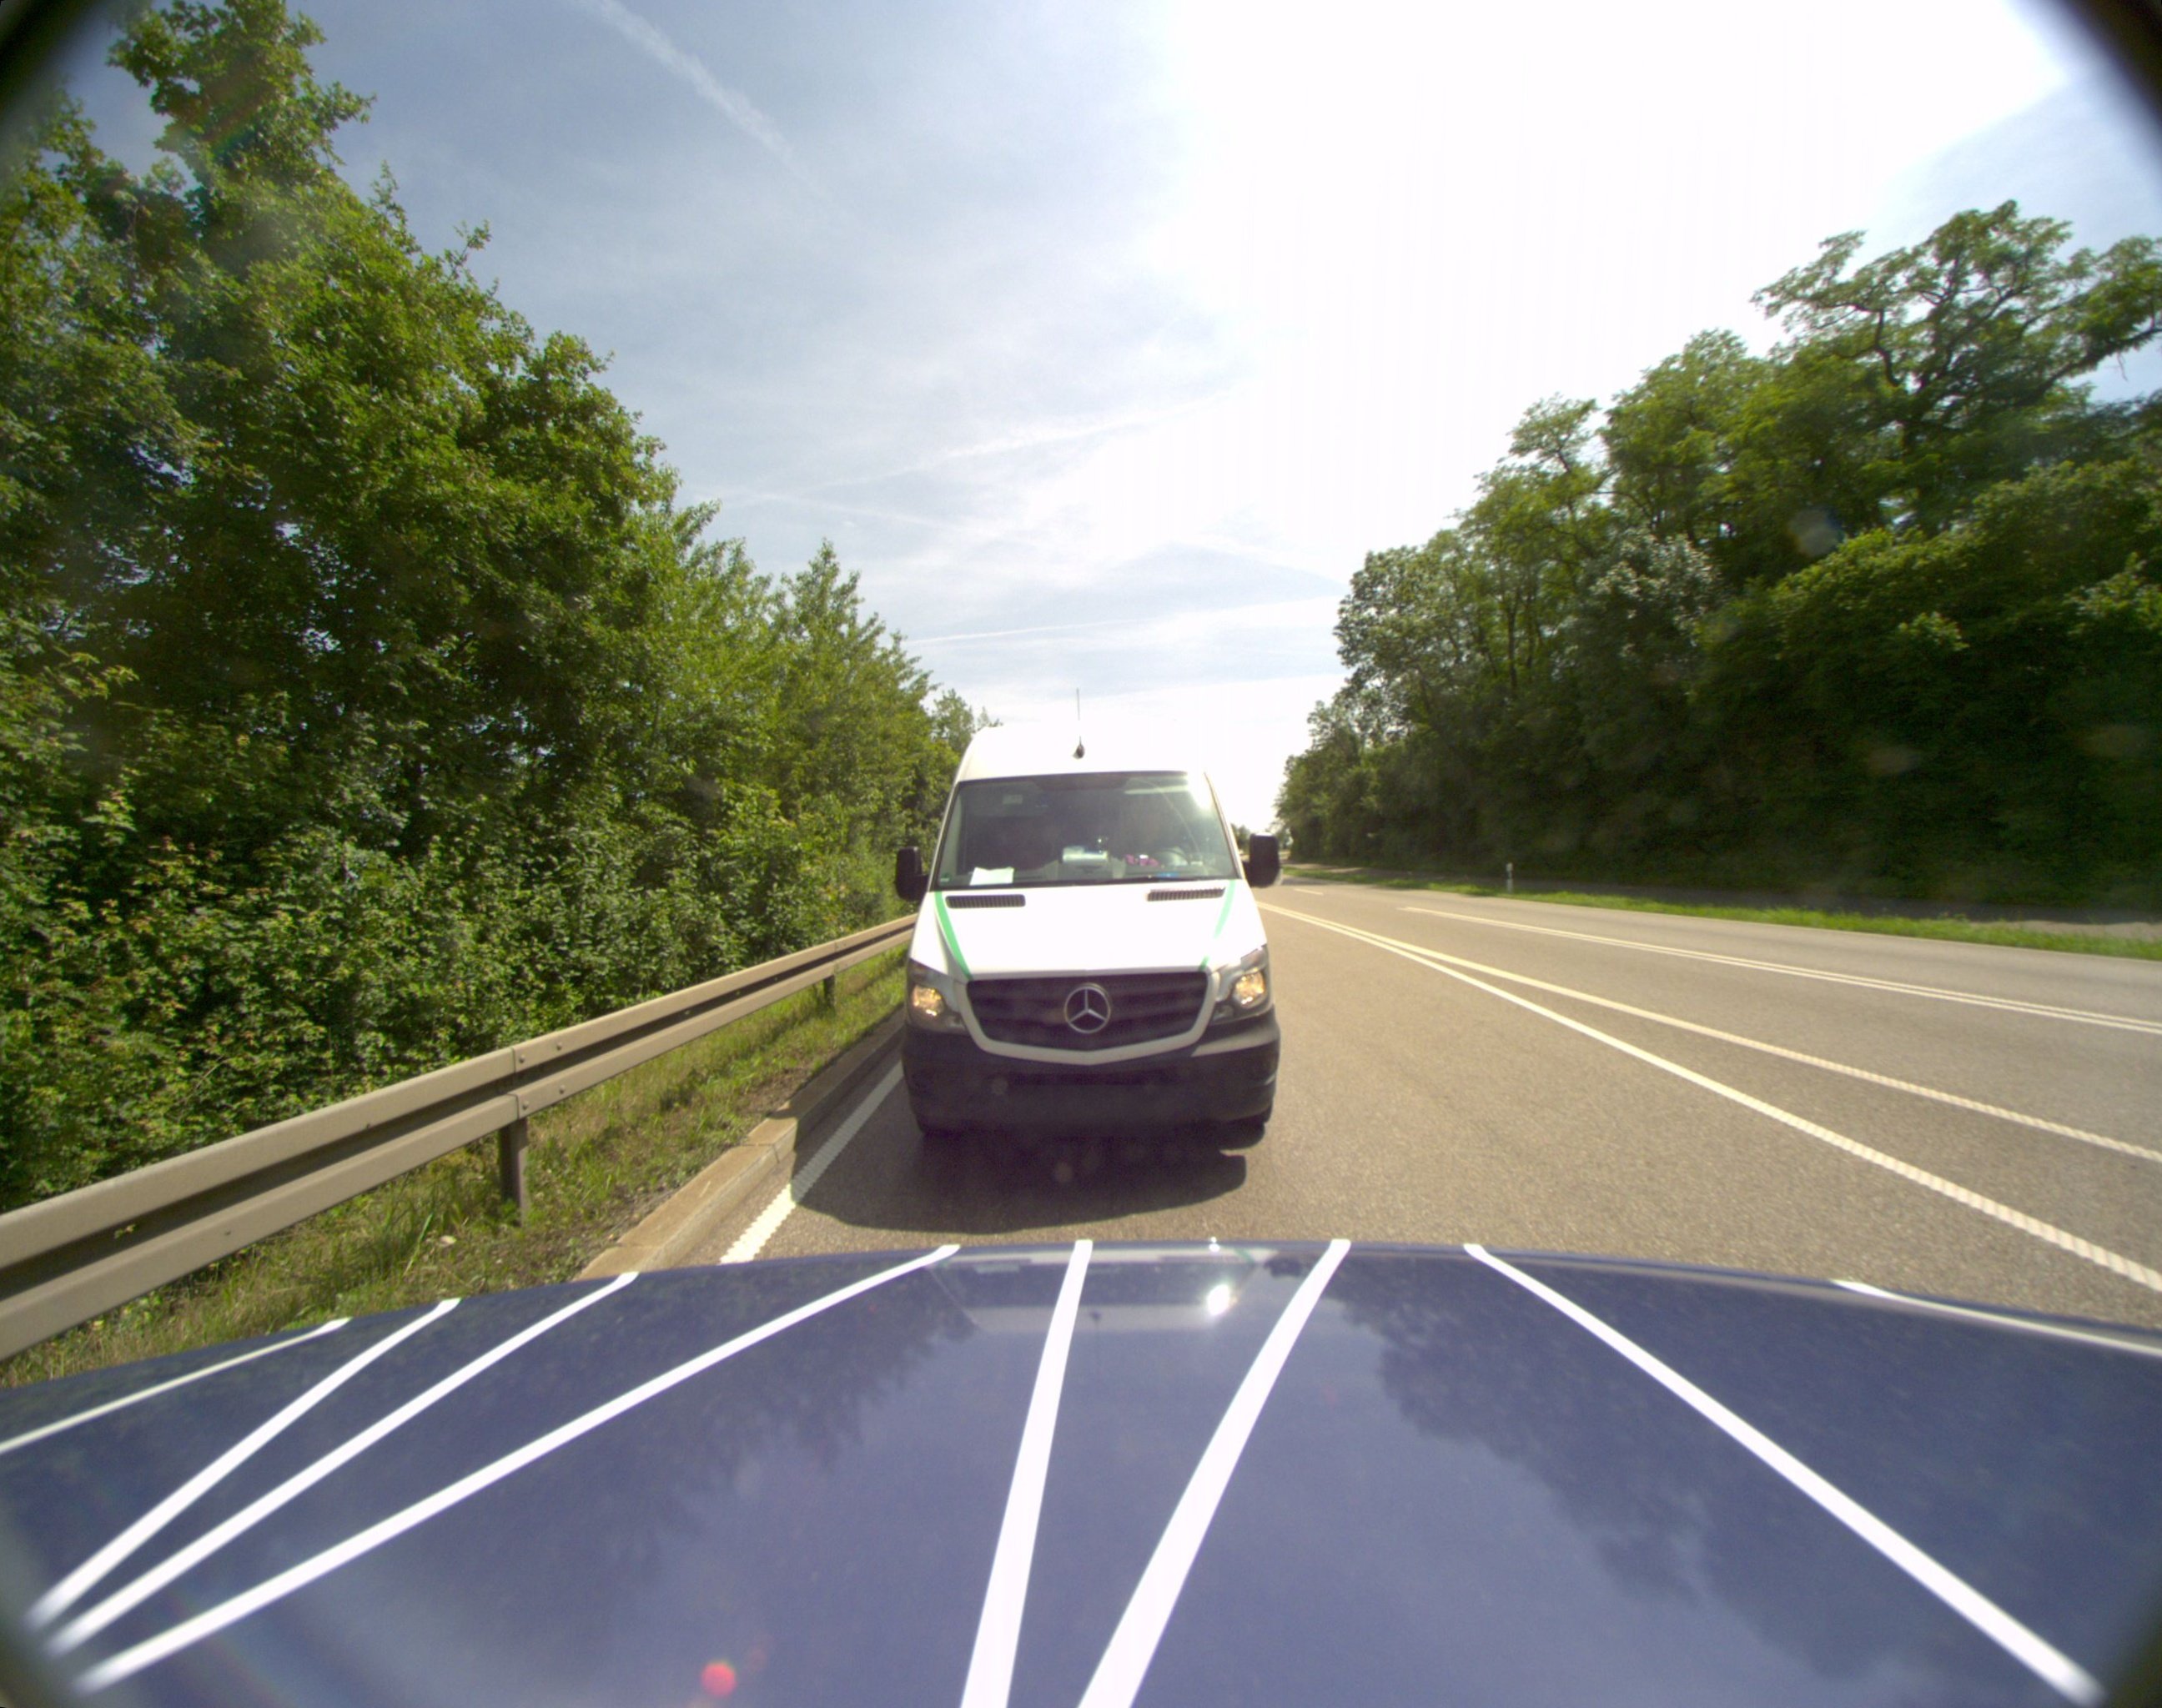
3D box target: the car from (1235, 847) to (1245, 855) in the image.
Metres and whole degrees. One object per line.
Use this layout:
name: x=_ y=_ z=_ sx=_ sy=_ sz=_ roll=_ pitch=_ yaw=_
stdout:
car: x=43.715 y=-0.805 z=208.963 sx=1.853 sy=2.002 sz=3.894 roll=-2 pitch=1 yaw=24

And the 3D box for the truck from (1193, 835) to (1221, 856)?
truck: x=28.911 y=-1.977 z=173.778 sx=3.981 sy=4.433 sz=14.359 roll=-2 pitch=0 yaw=19

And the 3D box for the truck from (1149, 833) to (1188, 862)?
truck: x=14.872 y=-1.060 z=127.472 sx=4.393 sy=4.433 sz=14.727 roll=-2 pitch=0 yaw=15

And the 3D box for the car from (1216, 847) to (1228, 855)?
car: x=35.756 y=-0.818 z=192.776 sx=1.915 sy=2.002 sz=4.181 roll=-1 pitch=1 yaw=23

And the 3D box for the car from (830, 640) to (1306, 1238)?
car: x=0.025 y=0.381 z=5.880 sx=1.958 sy=2.502 sz=5.267 roll=-2 pitch=0 yaw=2
